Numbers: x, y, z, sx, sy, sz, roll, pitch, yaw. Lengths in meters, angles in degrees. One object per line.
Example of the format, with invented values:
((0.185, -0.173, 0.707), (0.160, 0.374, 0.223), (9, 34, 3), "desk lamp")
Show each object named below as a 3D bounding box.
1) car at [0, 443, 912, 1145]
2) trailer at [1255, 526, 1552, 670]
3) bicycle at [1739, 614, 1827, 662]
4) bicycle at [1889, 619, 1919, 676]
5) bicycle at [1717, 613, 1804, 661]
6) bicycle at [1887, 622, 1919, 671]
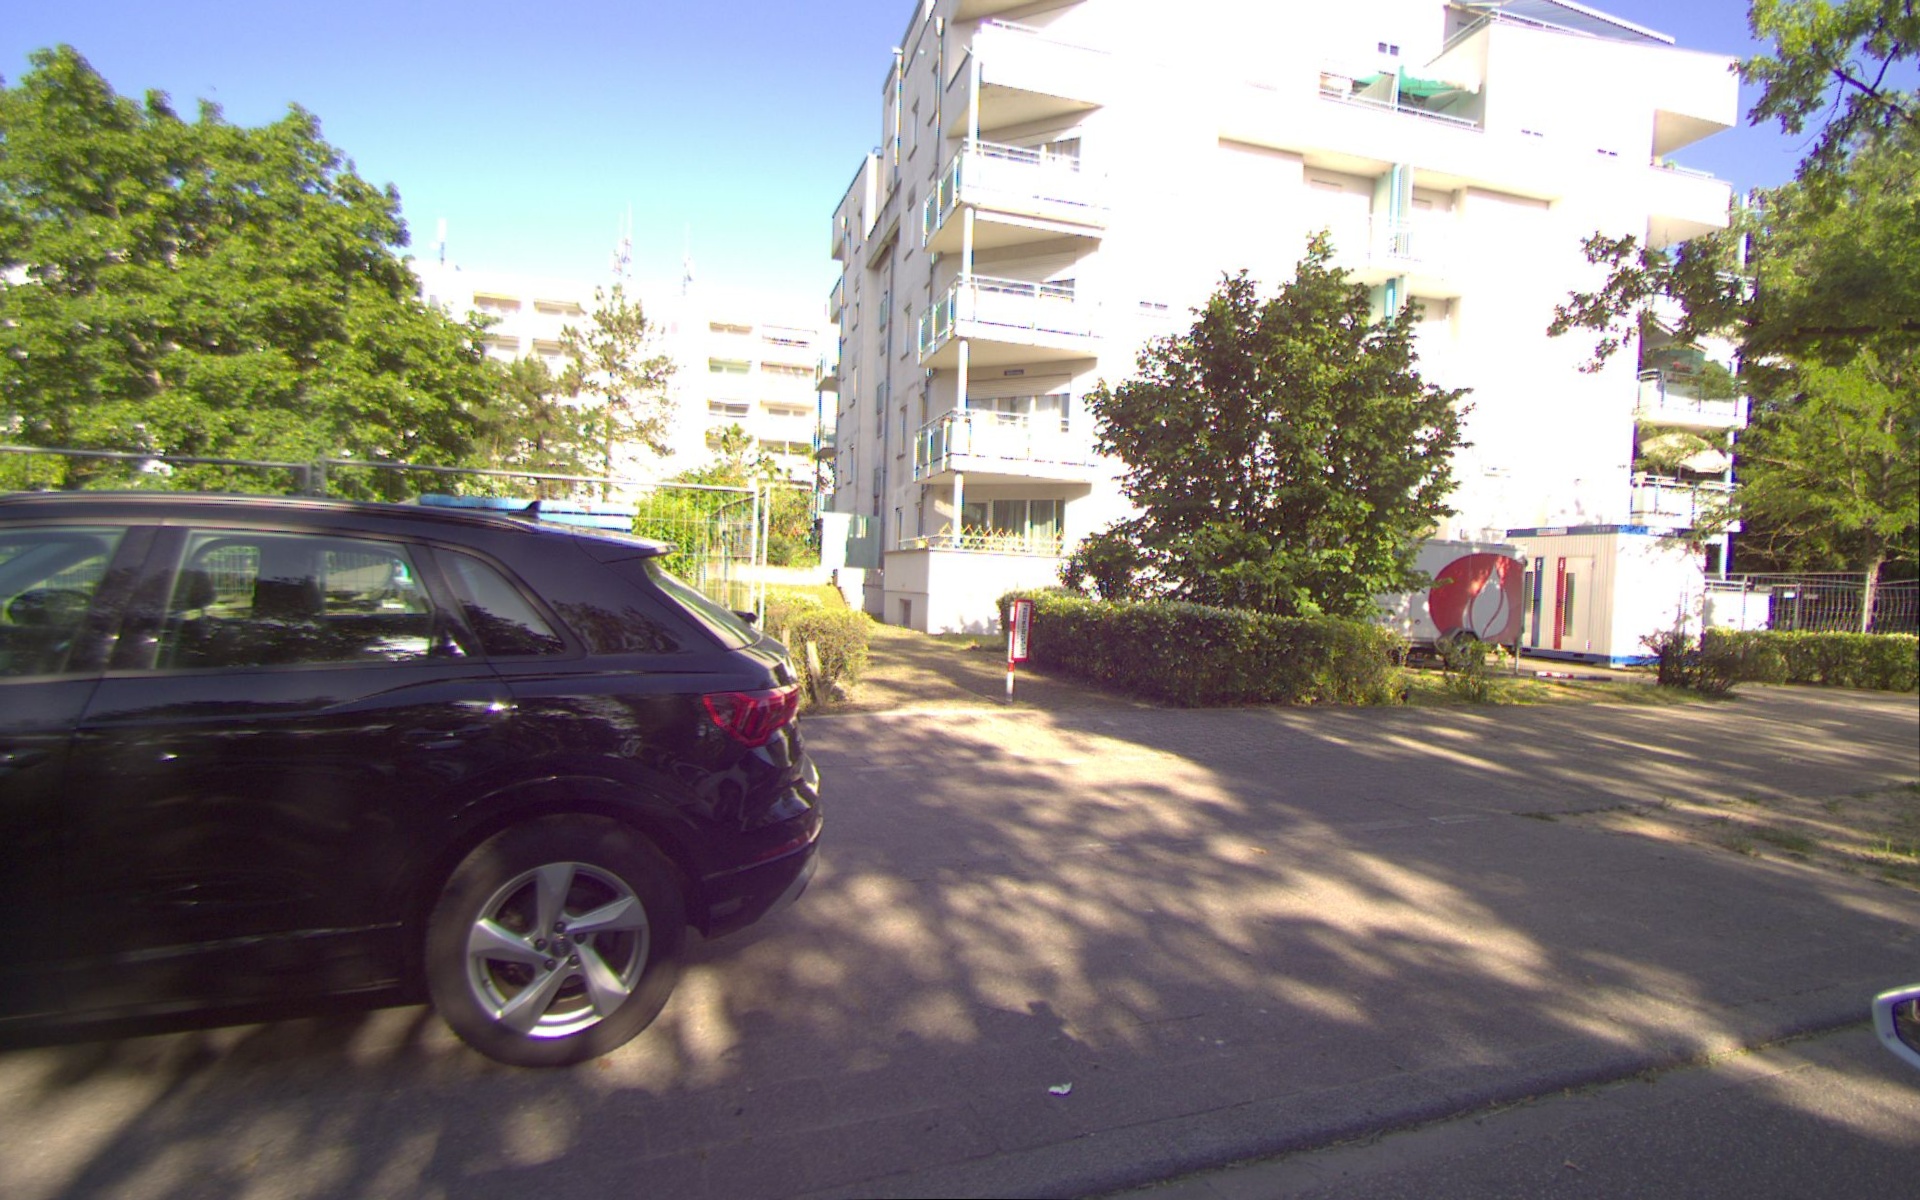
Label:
((-2.422, 0.407, 3.186), (4.157, 1.643, 1.772), (2, 3, -21), "car")
((7.366, -0.034, 16.769), (4.277, 2.149, 1.862), (2, 3, -18), "trailer")
((19.950, 0.909, 24.392), (0.394, 1.040, 1.695), (2, 1, -15), "bicycle")
((18.568, 0.935, 18.654), (0.396, 1.040, 1.857), (2, 1, -33), "bicycle")
((19.294, 0.885, 24.246), (0.394, 1.040, 1.695), (2, 1, -15), "bicycle")
((21.216, 1.035, 22.119), (1.674, 1.040, 0.399), (3, 1, -19), "bicycle")
